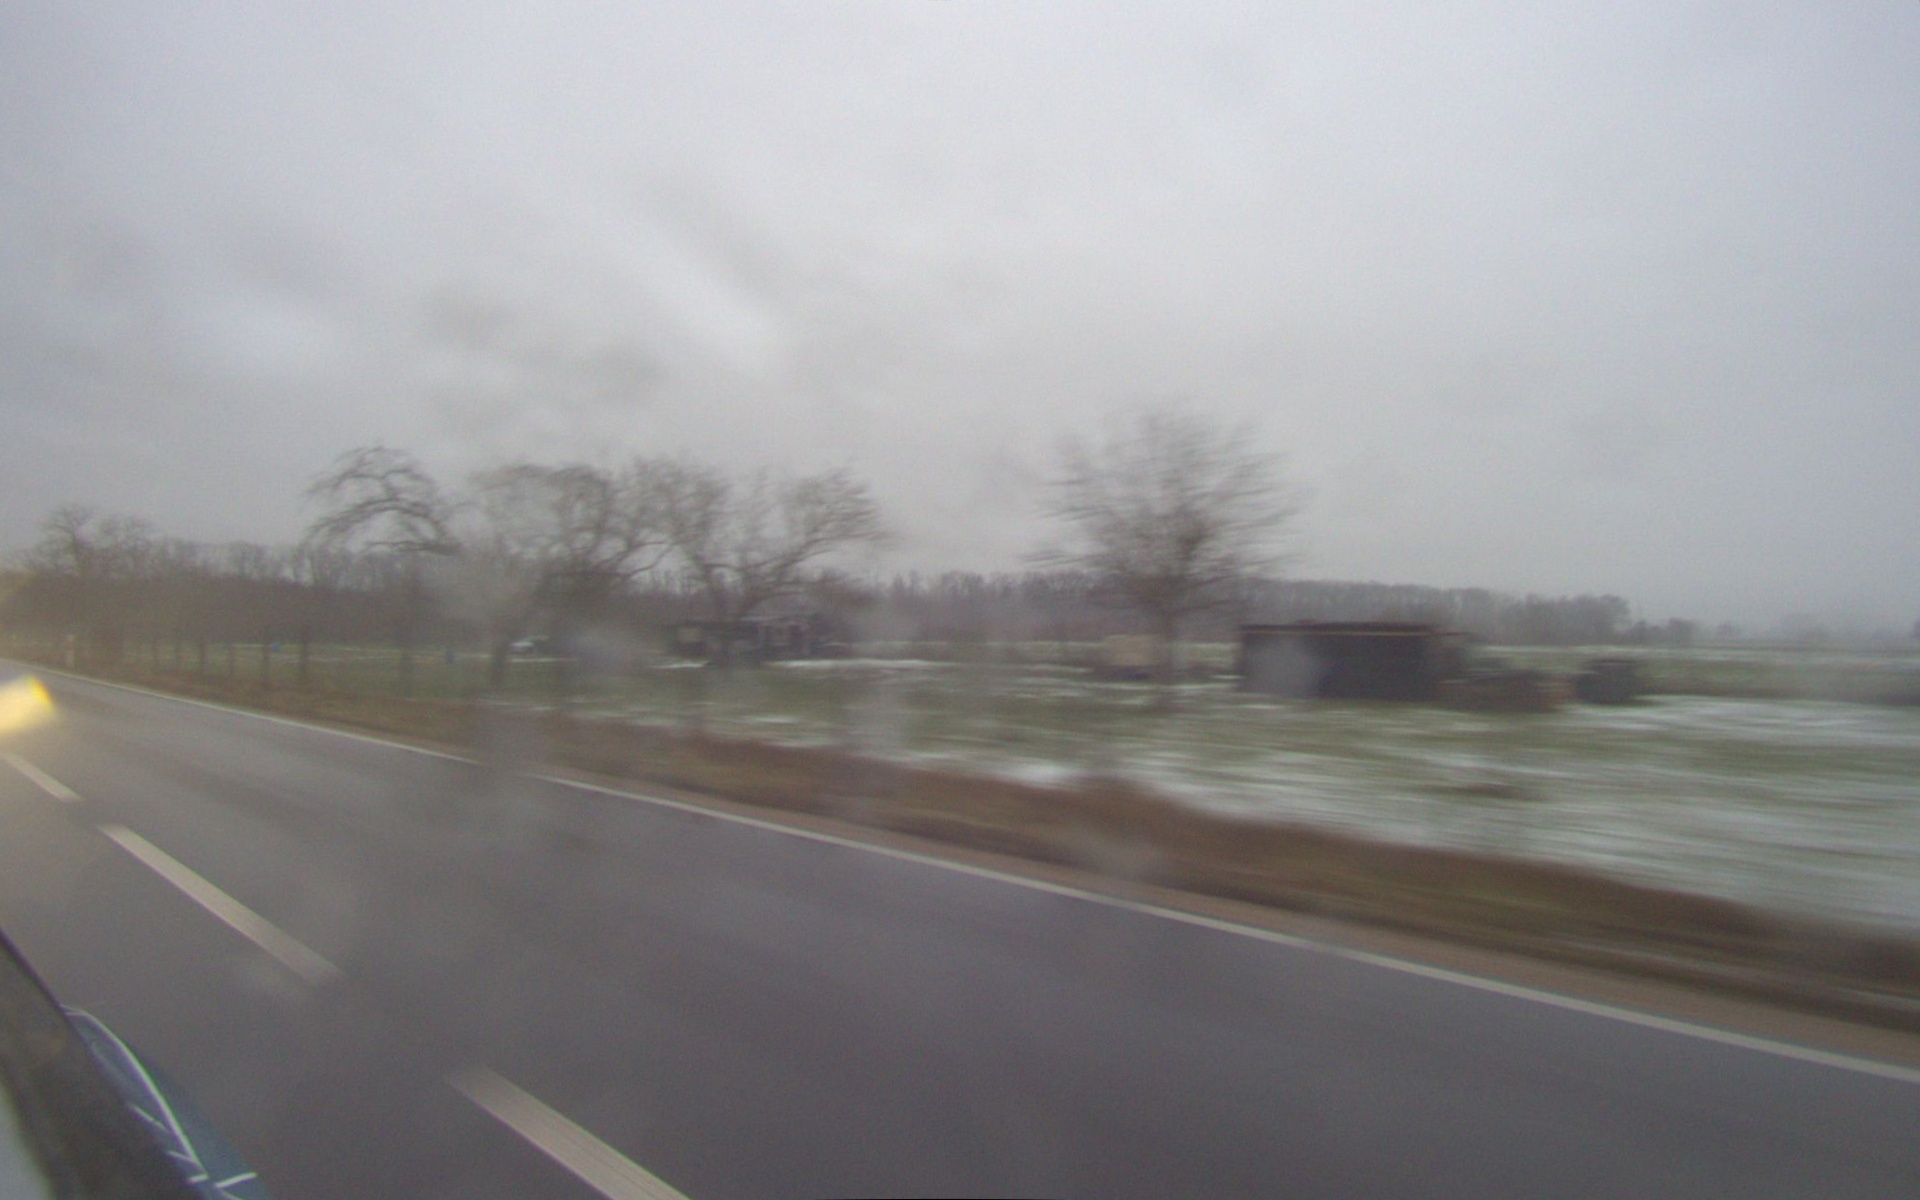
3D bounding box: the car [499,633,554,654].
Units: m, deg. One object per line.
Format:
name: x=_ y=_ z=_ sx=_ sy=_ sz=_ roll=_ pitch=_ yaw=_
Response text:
car: x=-31.136 y=3.093 z=72.787 sx=1.591 sy=1.352 sz=3.421 roll=-1 pitch=0 yaw=27
